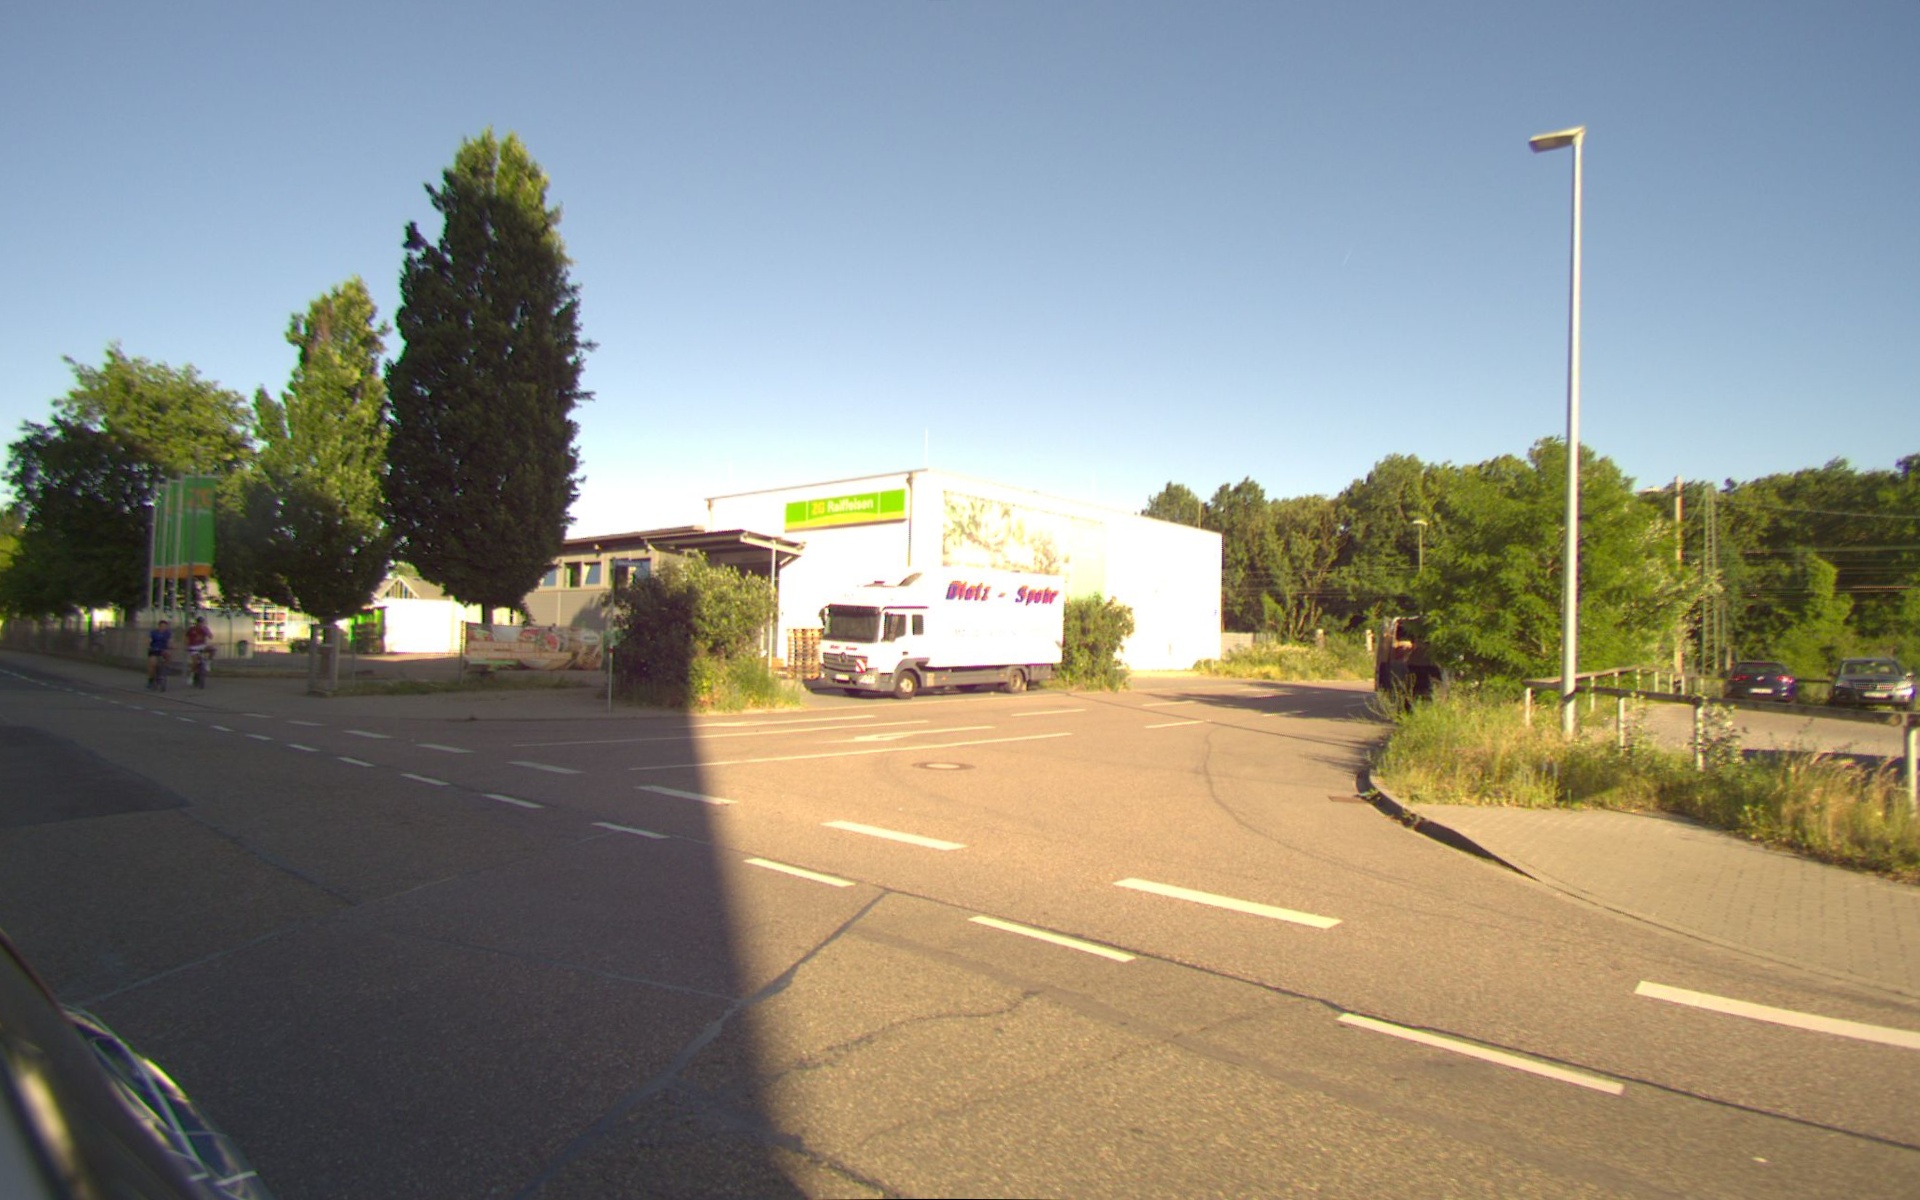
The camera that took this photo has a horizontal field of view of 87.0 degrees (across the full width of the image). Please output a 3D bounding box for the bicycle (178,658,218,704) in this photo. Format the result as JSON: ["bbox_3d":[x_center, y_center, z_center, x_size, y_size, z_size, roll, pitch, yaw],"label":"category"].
[{"bbox_3d":[-20.263,2.142,26.912,1.868,1.157,0.465,-2,-3,41],"label":"bicycle"}]

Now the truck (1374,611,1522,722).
[{"bbox_3d":[14.084,1.895,28.968,2.314,2.829,6.429,-2,-4,39],"label":"truck"}]

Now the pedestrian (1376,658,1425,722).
[{"bbox_3d":[11.634,2.363,26.740,0.915,1.652,0.918,-3,-5,42],"label":"pedestrian"}]

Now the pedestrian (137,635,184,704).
[{"bbox_3d":[-20.741,1.789,26.254,1.057,1.734,0.713,-2,-4,41],"label":"pedestrian"}]

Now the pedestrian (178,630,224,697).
[{"bbox_3d":[-20.180,1.692,26.915,1.057,1.734,0.713,-2,-4,41],"label":"pedestrian"}]

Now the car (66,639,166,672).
[{"bbox_3d":[-45.828,3.033,54.991,1.785,1.523,3.849,-2,-7,41],"label":"car"}]

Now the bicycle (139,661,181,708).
[{"bbox_3d":[-20.711,2.162,26.190,2.200,1.157,0.441,-2,-3,41],"label":"bicycle"}]

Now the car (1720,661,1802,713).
[{"bbox_3d":[24.855,2.648,31.493,1.859,1.476,3.969,-2,-4,37],"label":"car"}]

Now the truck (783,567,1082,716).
[{"bbox_3d":[-0.361,1.214,29.536,2.774,3.642,9.995,-1,-3,40],"label":"truck"}]

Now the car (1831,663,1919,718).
[{"bbox_3d":[27.002,2.603,29.715,1.859,1.476,3.969,-2,-4,37],"label":"car"}]
